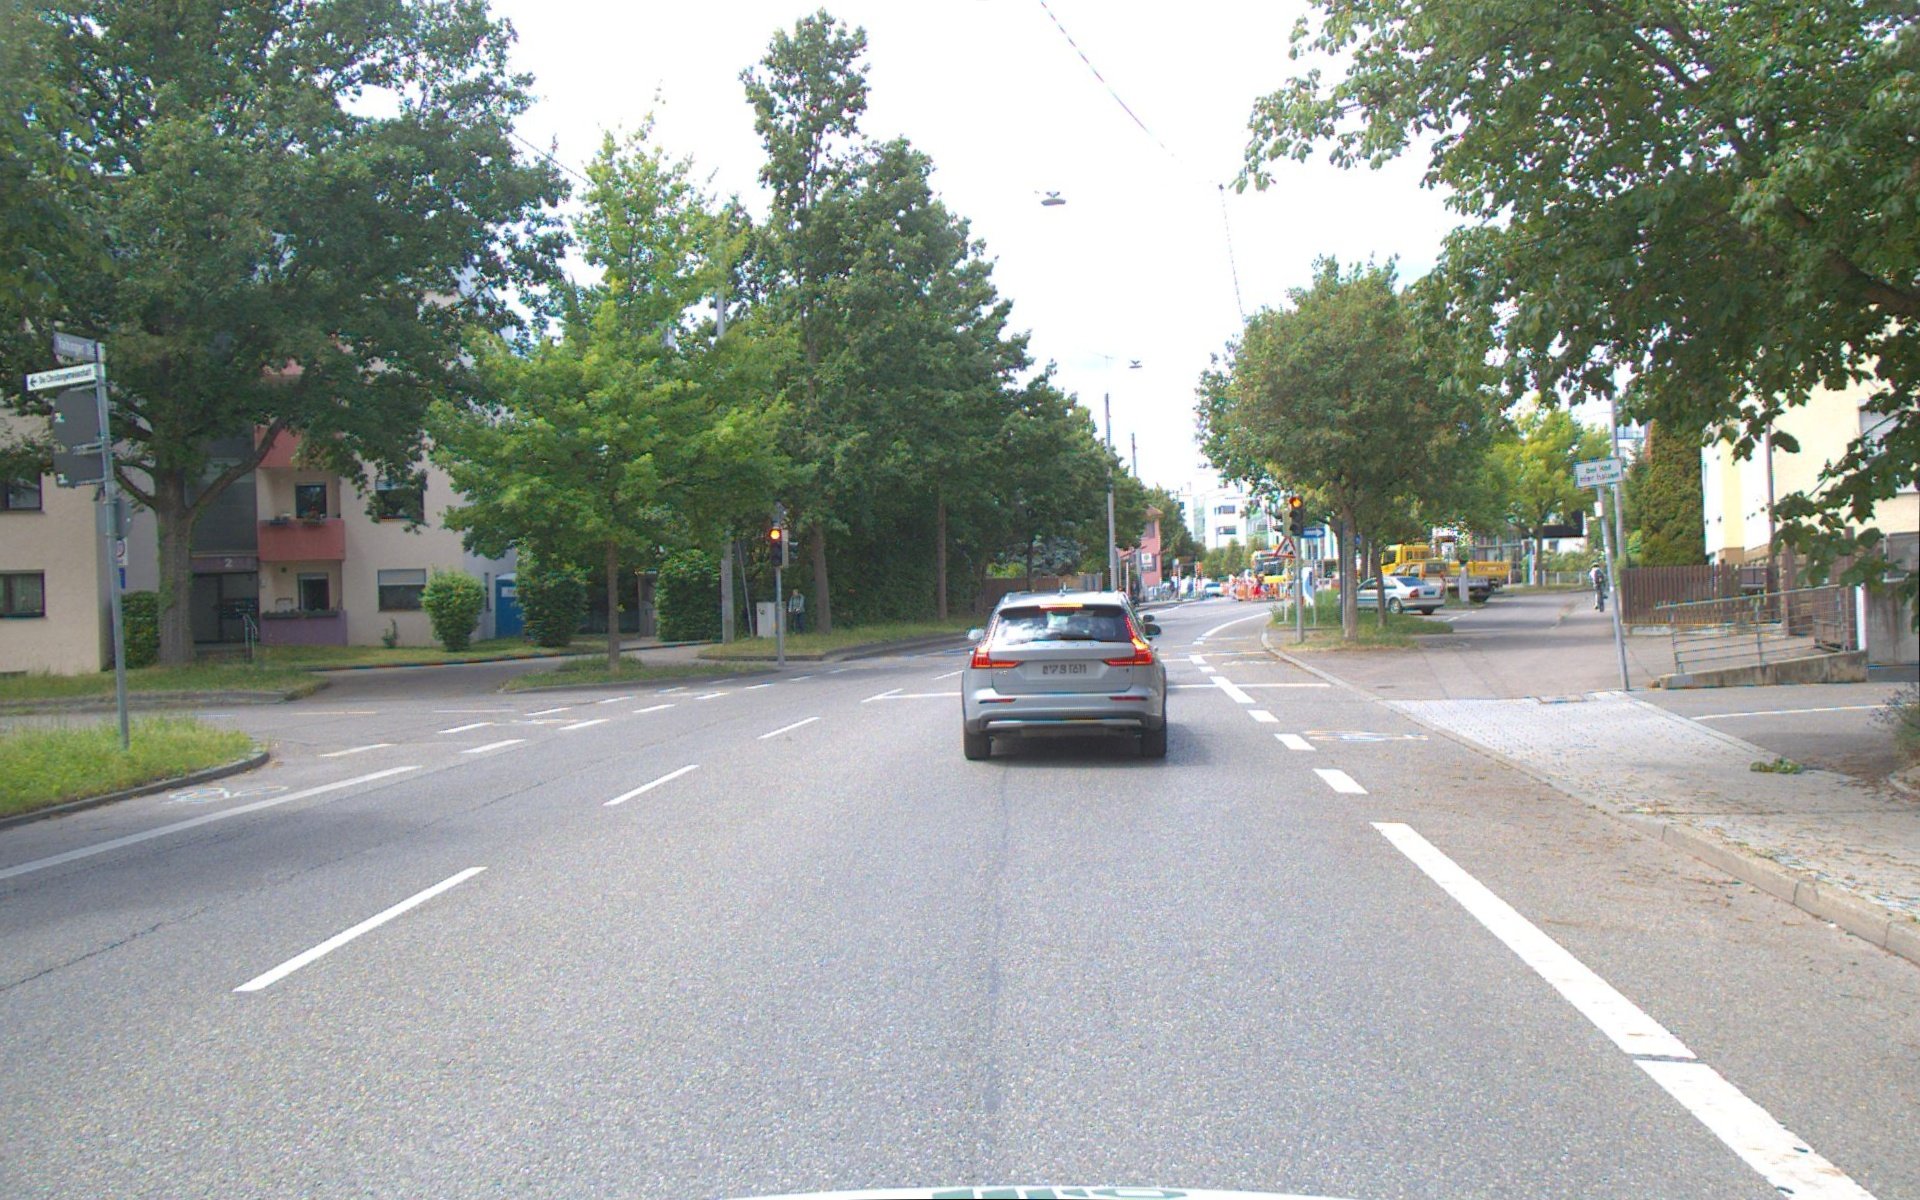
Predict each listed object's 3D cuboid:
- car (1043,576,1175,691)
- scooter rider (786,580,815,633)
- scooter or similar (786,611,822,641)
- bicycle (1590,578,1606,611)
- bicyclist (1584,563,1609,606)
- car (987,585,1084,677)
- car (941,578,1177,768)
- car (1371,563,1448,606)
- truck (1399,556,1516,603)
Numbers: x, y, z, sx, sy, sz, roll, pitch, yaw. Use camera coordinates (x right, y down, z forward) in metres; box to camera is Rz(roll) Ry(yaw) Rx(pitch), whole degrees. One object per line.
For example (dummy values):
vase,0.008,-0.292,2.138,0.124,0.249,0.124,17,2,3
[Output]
car,2.259,0.442,24.942,1.766,1.550,4.332,1,1,6
scooter rider,-5.270,0.218,54.699,0.699,1.758,0.672,0,-1,-34
scooter or similar,-5.163,0.859,54.735,0.945,0.978,0.682,-1,-1,-35
bicycle,21.578,-0.173,55.947,0.452,1.053,2.763,-1,-1,22
bicyclist,21.586,-0.512,56.104,0.762,1.424,0.702,-1,-1,21
car,1.427,0.596,32.669,1.767,1.644,4.329,1,-1,1
car,1.105,0.600,16.057,1.914,1.550,4.333,-2,0,8
car,22.197,-0.741,81.684,3.726,2.049,1.720,0,-1,-36
truck,23.063,-0.938,76.602,5.542,2.049,2.066,0,-1,-32
